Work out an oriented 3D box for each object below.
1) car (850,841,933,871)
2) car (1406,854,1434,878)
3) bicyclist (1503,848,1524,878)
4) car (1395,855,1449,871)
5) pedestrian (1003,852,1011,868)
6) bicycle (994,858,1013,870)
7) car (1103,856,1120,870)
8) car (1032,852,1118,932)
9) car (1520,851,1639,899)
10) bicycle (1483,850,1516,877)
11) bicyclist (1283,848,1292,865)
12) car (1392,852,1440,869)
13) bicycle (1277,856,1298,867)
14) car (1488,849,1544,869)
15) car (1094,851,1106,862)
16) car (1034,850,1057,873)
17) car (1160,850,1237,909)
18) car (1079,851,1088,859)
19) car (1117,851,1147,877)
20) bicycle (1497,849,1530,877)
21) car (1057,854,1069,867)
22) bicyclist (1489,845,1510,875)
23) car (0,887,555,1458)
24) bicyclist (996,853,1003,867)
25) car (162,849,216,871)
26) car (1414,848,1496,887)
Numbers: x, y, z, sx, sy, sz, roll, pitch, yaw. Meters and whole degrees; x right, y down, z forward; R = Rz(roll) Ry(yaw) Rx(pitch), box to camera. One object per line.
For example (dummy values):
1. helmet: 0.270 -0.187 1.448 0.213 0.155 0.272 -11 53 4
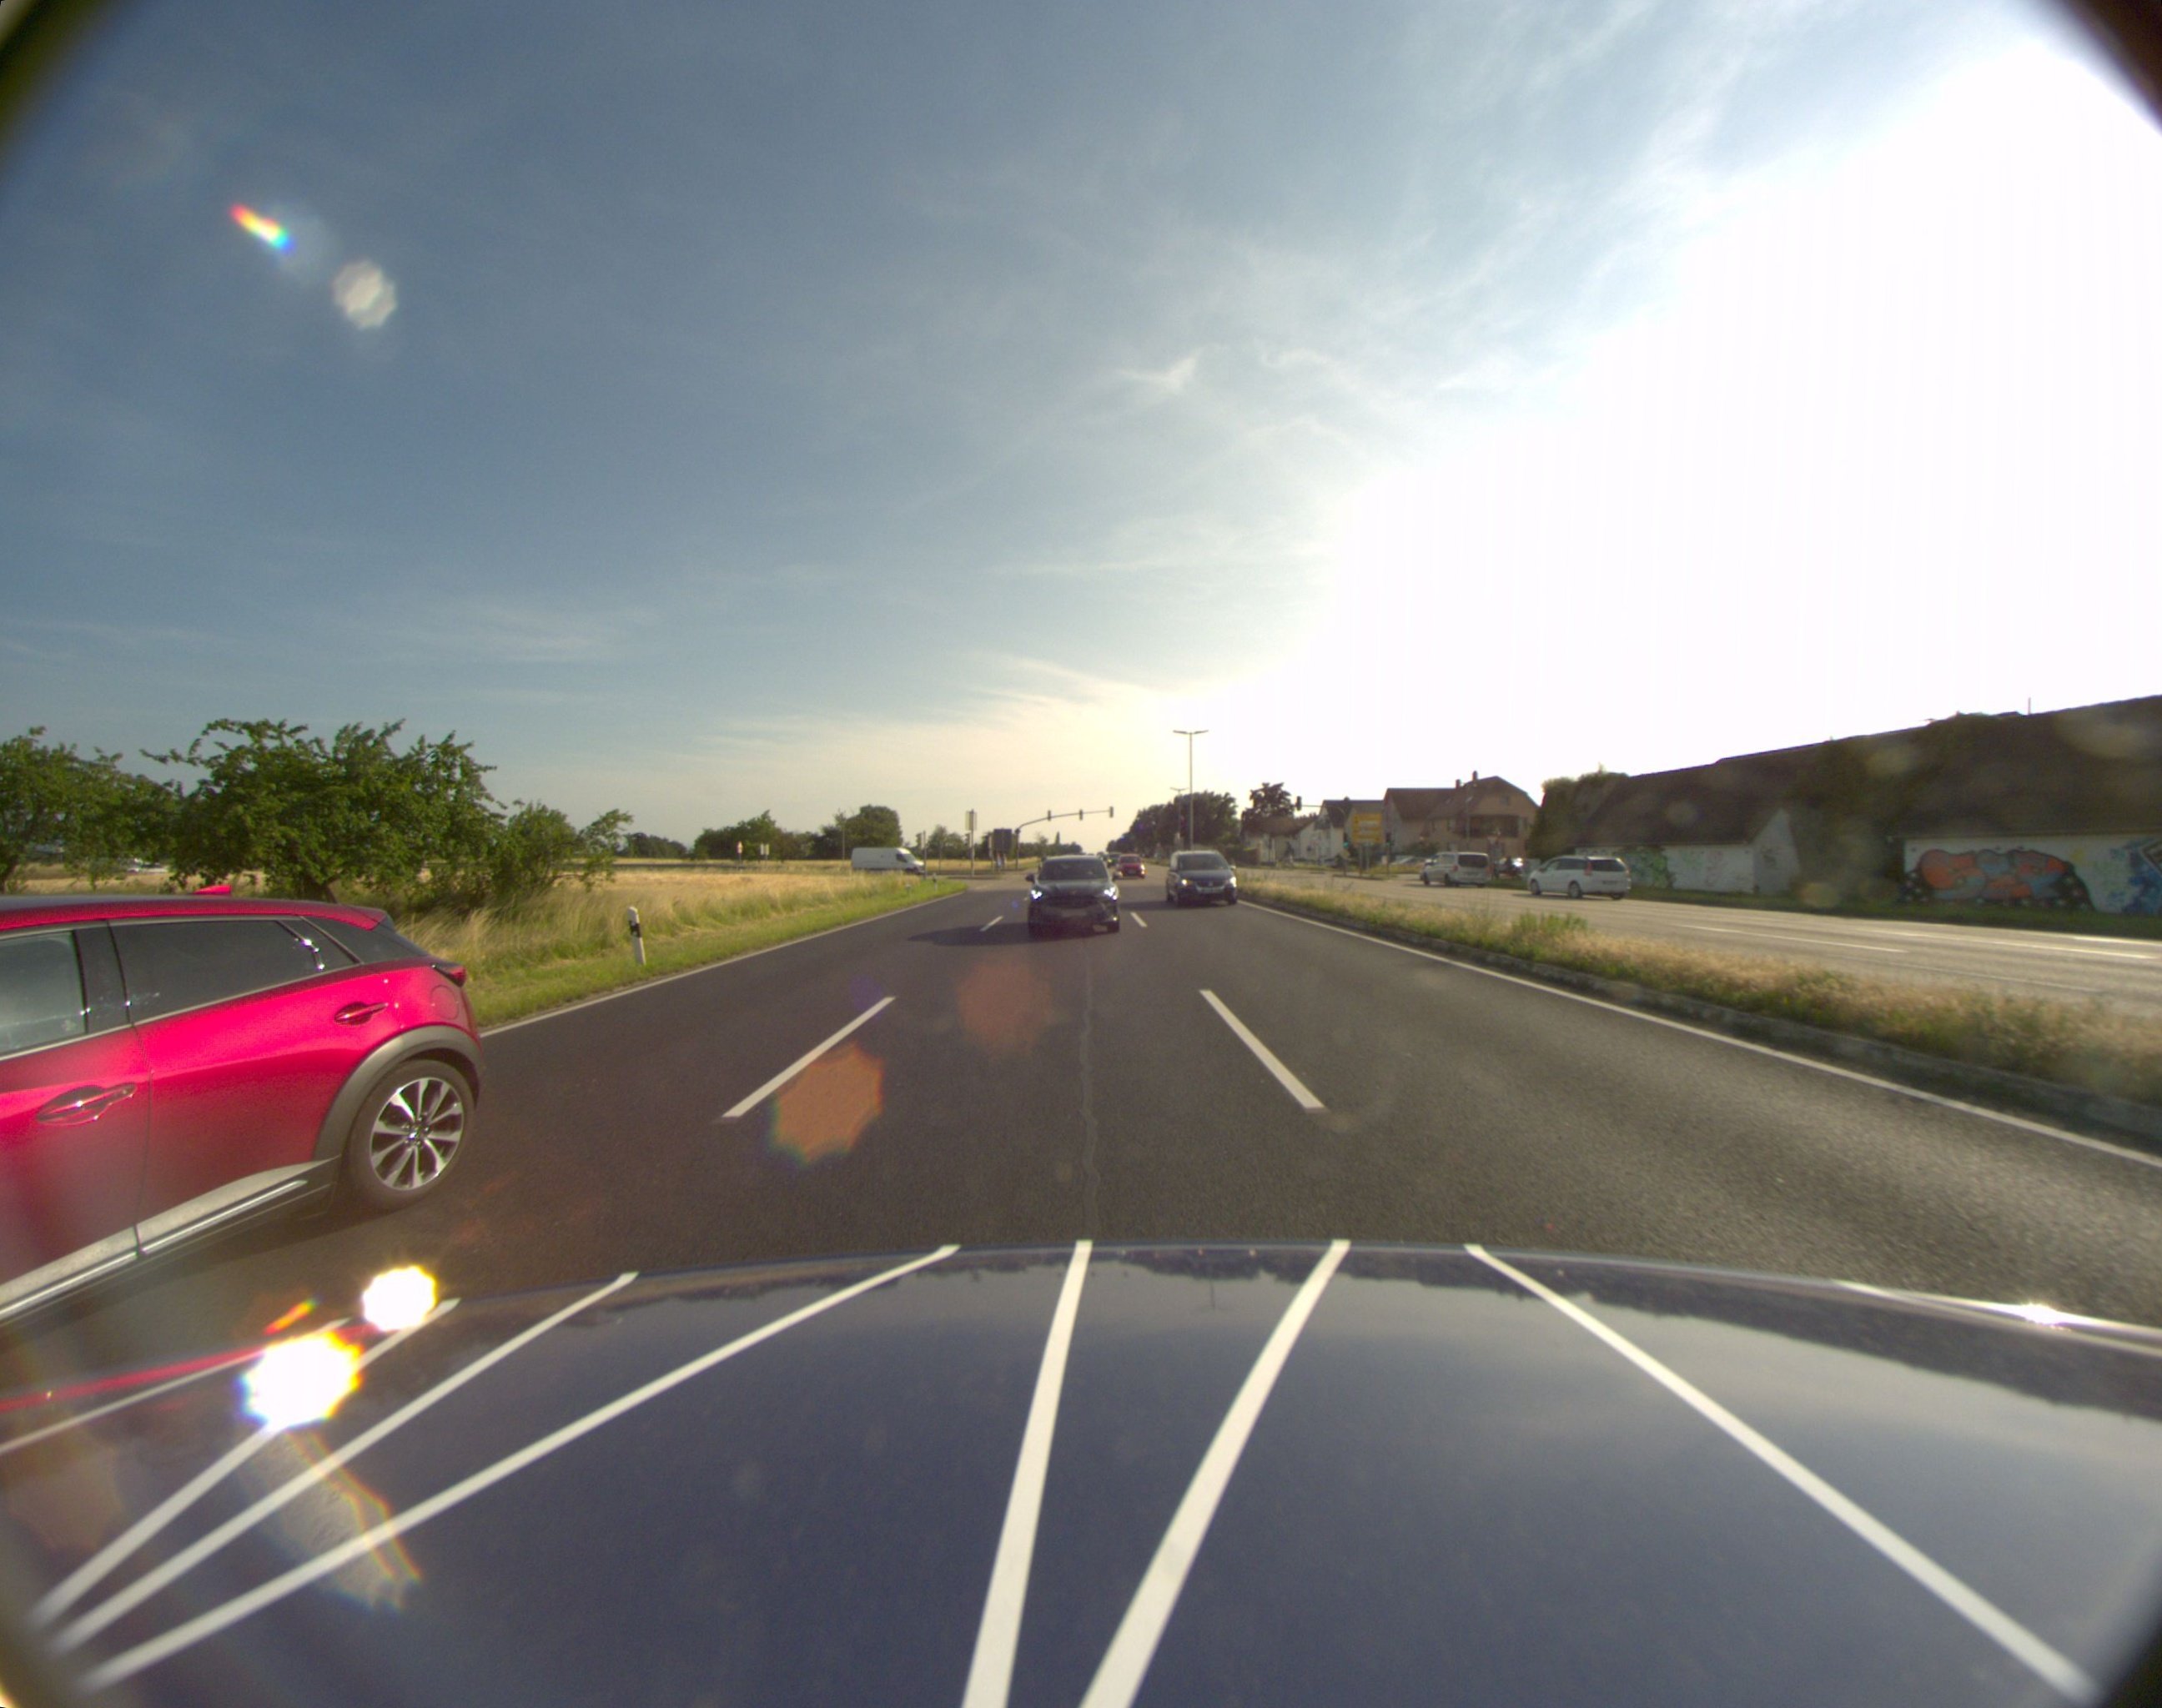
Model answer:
1. car: -17.473 0.149 69.977 7.202 2.654 2.094 0 2 14
2. car: 24.173 0.821 54.290 1.703 1.489 4.545 3 2 23
3. bicyclist: 29.128 0.584 51.203 0.772 2.002 1.062 -2 1 0
4. car: 31.651 0.836 70.573 4.304 1.405 1.641 2 1 -6
5. pedestrian: -8.283 0.714 84.805 0.623 1.741 0.598 -2 1 11
6. bicycle: -8.463 1.074 83.038 1.858 1.282 0.529 -2 1 3
7. car: 3.473 1.012 87.035 1.719 1.521 3.999 -2 1 1
8. car: -0.099 0.812 18.496 1.791 1.594 4.339 -2 1 1
9. car: 20.007 0.782 30.771 1.840 1.697 4.758 2 1 4
10. bicycle: 28.260 0.621 51.337 0.755 1.739 2.607 -2 1 1
11. bicyclist: 22.643 0.298 83.359 0.856 1.777 0.847 2 2 9
12. car: 33.436 0.657 75.825 3.996 1.554 1.758 1 1 1
13. bicycle: 22.685 0.822 83.369 2.159 1.185 0.904 0 2 9
14. car: 37.277 0.442 65.081 4.768 1.489 1.951 -2 1 -28
15. car: 3.563 0.451 142.425 1.999 2.002 3.998 -2 1 -3
16. car: -3.325 0.629 70.969 1.999 2.002 3.998 -2 1 -2
17. car: 3.605 0.733 24.145 1.777 1.612 4.681 -1 1 1
18. car: 0.624 0.196 191.488 1.999 2.002 3.998 -2 1 -3
19. car: 3.396 0.635 50.857 1.748 1.537 3.999 -2 1 1
20. bicycle: 29.166 0.582 51.327 0.755 1.739 2.607 -2 1 1
21. car: -3.071 1.087 129.643 1.998 2.002 3.999 -2 1 0
22. bicyclist: 28.262 0.399 51.357 0.772 2.002 1.062 -2 1 0
23. car: -3.959 1.003 2.171 1.708 1.497 4.500 -2 1 0
24. bicyclist: -8.880 0.652 83.041 0.560 1.603 0.504 -2 1 7
25. car: -86.002 0.608 73.248 3.992 1.936 1.849 -2 1 17
26. car: 20.371 0.656 41.694 1.911 1.917 5.454 2 1 3
